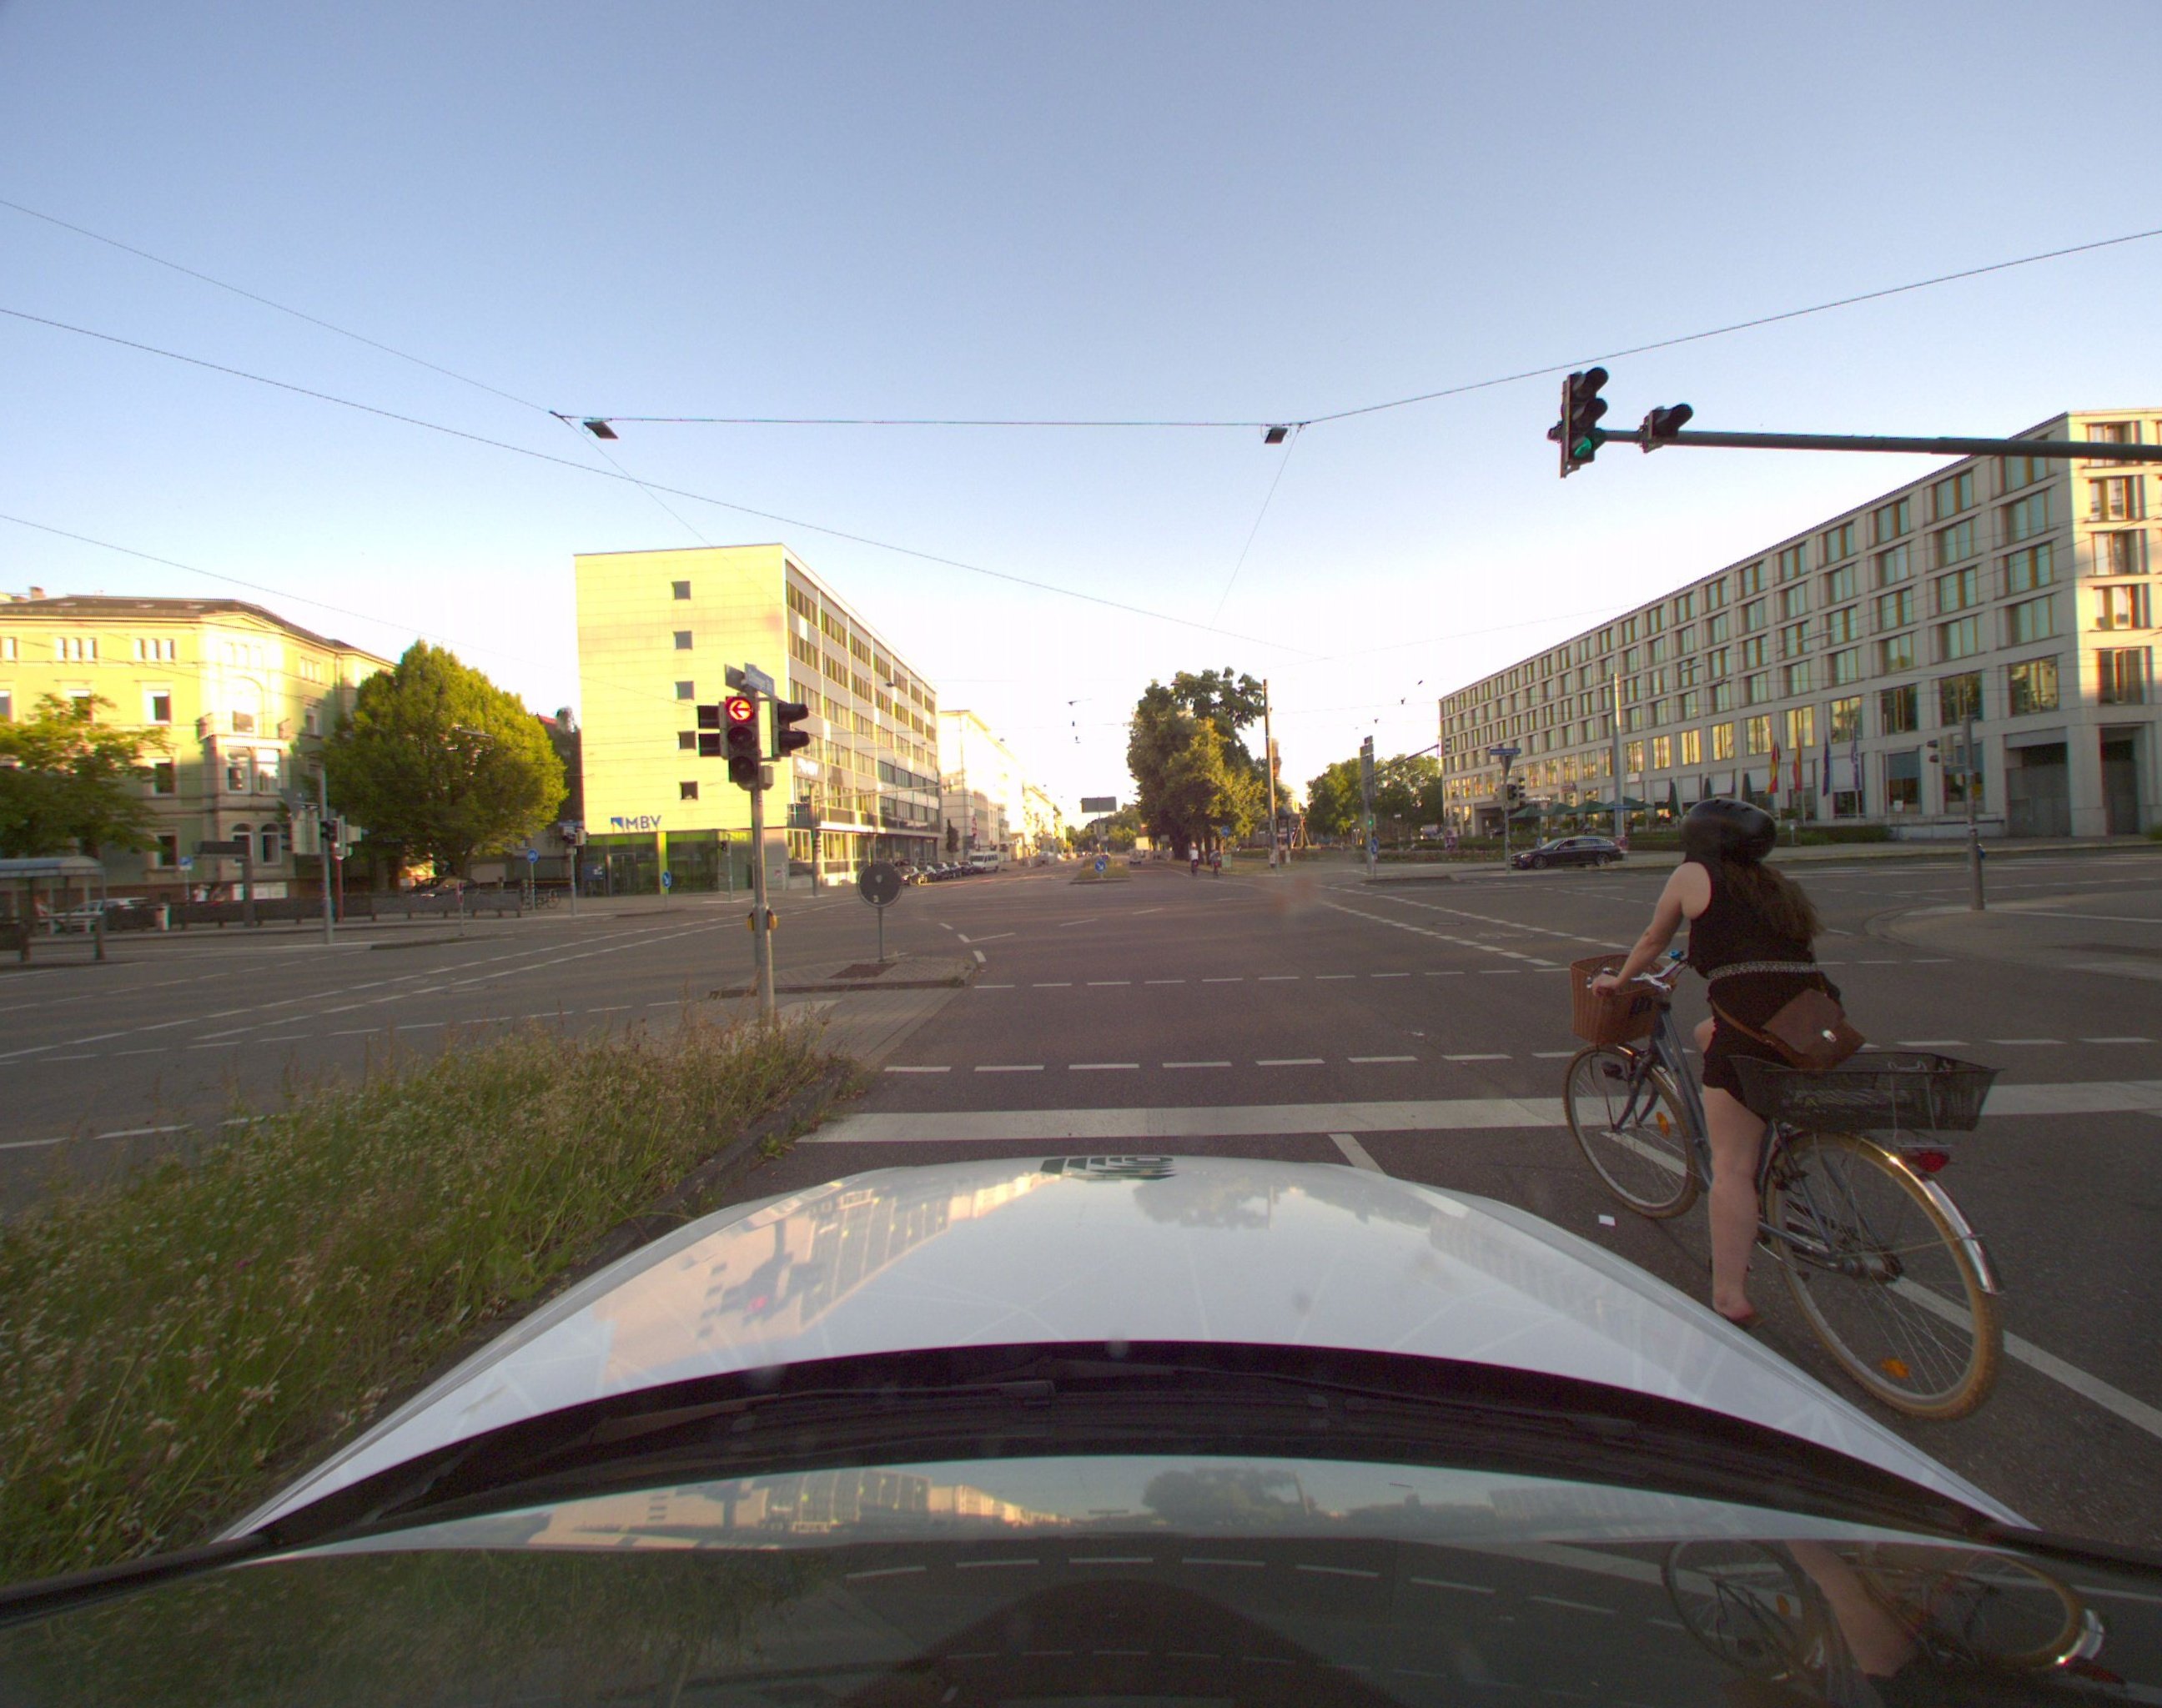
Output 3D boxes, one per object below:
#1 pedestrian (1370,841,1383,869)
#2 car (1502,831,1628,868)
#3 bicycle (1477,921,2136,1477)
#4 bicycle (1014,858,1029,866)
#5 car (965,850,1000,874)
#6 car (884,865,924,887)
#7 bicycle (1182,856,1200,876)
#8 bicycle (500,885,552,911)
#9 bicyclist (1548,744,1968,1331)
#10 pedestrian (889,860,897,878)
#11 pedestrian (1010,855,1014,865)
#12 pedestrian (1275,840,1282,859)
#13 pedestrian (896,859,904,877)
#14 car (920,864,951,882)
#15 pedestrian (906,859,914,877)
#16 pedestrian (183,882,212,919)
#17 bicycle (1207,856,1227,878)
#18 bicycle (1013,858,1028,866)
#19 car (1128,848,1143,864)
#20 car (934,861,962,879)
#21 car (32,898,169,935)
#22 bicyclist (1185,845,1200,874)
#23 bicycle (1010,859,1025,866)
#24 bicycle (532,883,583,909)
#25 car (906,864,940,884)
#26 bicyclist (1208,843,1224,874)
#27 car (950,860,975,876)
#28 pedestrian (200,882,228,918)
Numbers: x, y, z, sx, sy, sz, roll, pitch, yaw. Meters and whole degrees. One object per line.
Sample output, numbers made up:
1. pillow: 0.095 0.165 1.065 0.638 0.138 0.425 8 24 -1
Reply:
1. pedestrian: 16.444 0.037 45.331 0.489 1.540 0.408 -3 0 1
2. car: 23.247 -0.199 39.250 4.803 1.515 2.002 -3 0 4
3. bicycle: 2.186 0.892 2.913 0.609 1.132 2.005 -1 0 2
4. bicycle: -9.490 1.265 129.336 2.198 1.236 0.839 -3 0 0
5. car: -11.061 0.867 91.683 1.988 2.478 5.888 -3 0 12
6. car: -13.512 1.660 62.380 1.913 1.464 4.105 -3 0 2
7. bicycle: 6.673 0.733 49.436 0.744 1.144 2.506 -3 0 2
8. bicycle: -27.149 2.123 39.901 0.832 1.112 2.216 -3 0 6
9. bicyclist: 2.179 0.514 2.779 0.597 1.636 0.999 -1 0 2
10. pedestrian: -18.165 1.421 78.615 0.549 1.679 0.500 -3 0 1
11. pedestrian: -13.975 1.272 165.443 0.677 2.013 0.545 -3 0 1
12. pedestrian: 18.088 -0.398 74.467 0.458 1.656 0.567 -3 0 1
13. pedestrian: -17.507 1.385 78.841 0.549 1.679 0.500 -3 0 1
14. car: -13.107 1.684 73.724 1.913 1.464 4.002 -3 0 2
15. pedestrian: -16.490 1.367 78.562 0.549 1.679 0.500 -3 0 1
16. pedestrian: -45.177 2.374 41.641 0.641 1.790 0.720 -3 0 -12
17. bicycle: 7.562 0.698 45.472 0.744 1.144 2.506 -3 0 2
18. bicycle: -9.415 1.278 127.234 2.198 1.112 0.689 -3 0 0
19. car: 6.185 0.211 92.262 1.403 1.641 4.000 -3 0 1
20. car: -12.855 1.575 79.025 1.913 1.568 4.002 -3 0 2
21. car: -45.252 2.846 37.667 3.588 1.372 1.833 -3 0 -15
22. bicyclist: 6.703 0.340 49.003 0.744 1.663 0.873 -3 0 1
23. bicycle: -9.824 1.309 125.903 2.198 1.112 0.619 -3 0 0
24. bicycle: -25.605 2.062 39.891 0.832 1.112 2.216 -3 0 6
25. car: -13.315 1.647 68.911 1.913 1.464 4.002 -3 0 2
26. bicyclist: 7.539 0.255 45.480 0.744 1.691 0.799 -3 0 1
27. car: -12.387 1.447 85.248 1.913 1.568 4.002 -3 0 2
28. pedestrian: -45.326 2.408 42.587 0.641 1.790 0.720 -3 0 -12
